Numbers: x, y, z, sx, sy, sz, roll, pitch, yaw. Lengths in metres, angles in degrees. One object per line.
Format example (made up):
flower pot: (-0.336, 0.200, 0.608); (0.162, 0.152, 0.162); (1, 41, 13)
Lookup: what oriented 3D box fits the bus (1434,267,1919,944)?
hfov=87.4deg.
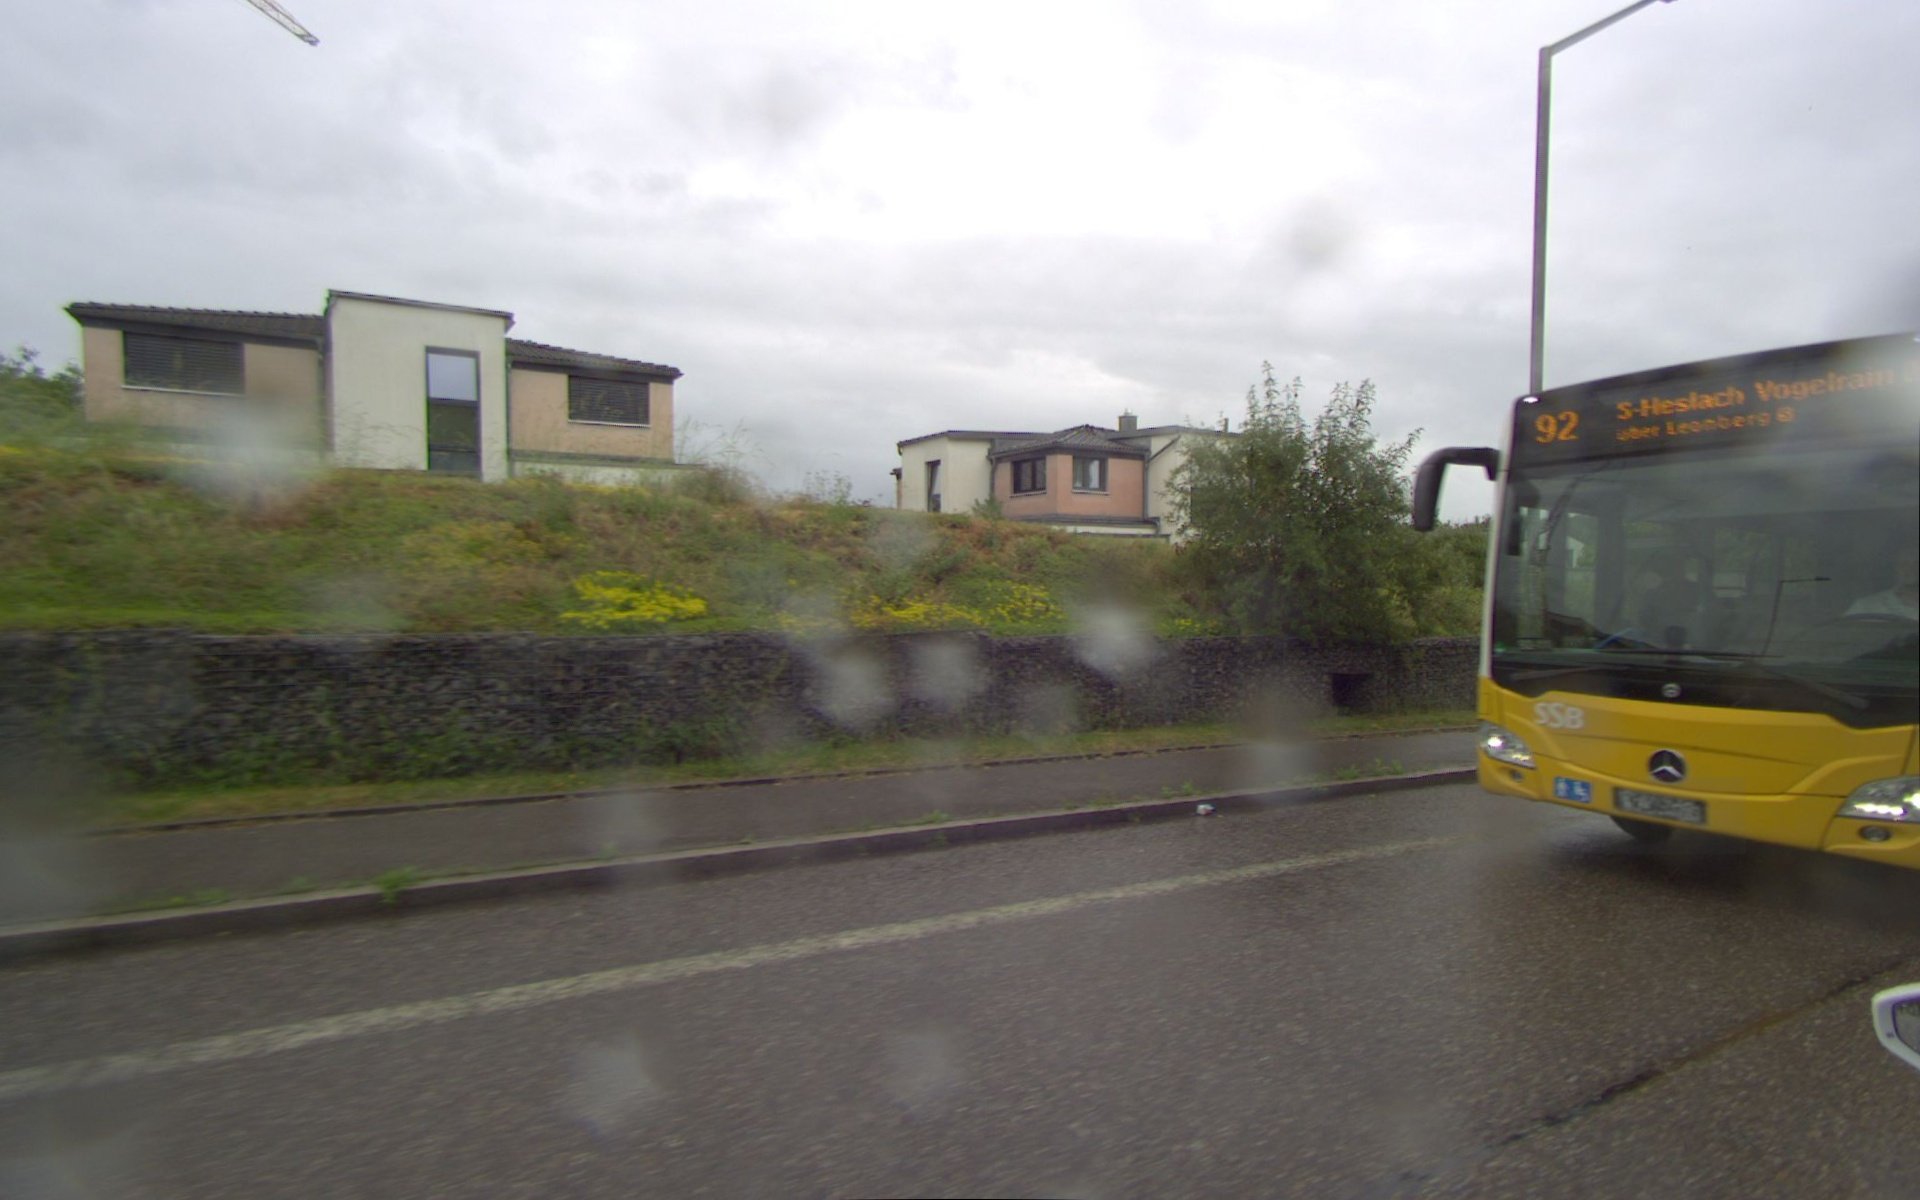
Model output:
bus: (8.333, 0.157, 8.446); (10.739, 3.108, 2.624); (2, -1, -33)

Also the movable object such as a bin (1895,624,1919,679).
movable object such as a bin: (24.145, 1.309, 24.949); (1.387, 1.319, 1.121); (1, 3, -40)

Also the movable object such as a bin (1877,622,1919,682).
movable object such as a bin: (22.788, 1.242, 23.945); (1.387, 1.357, 1.121); (1, 3, -40)
